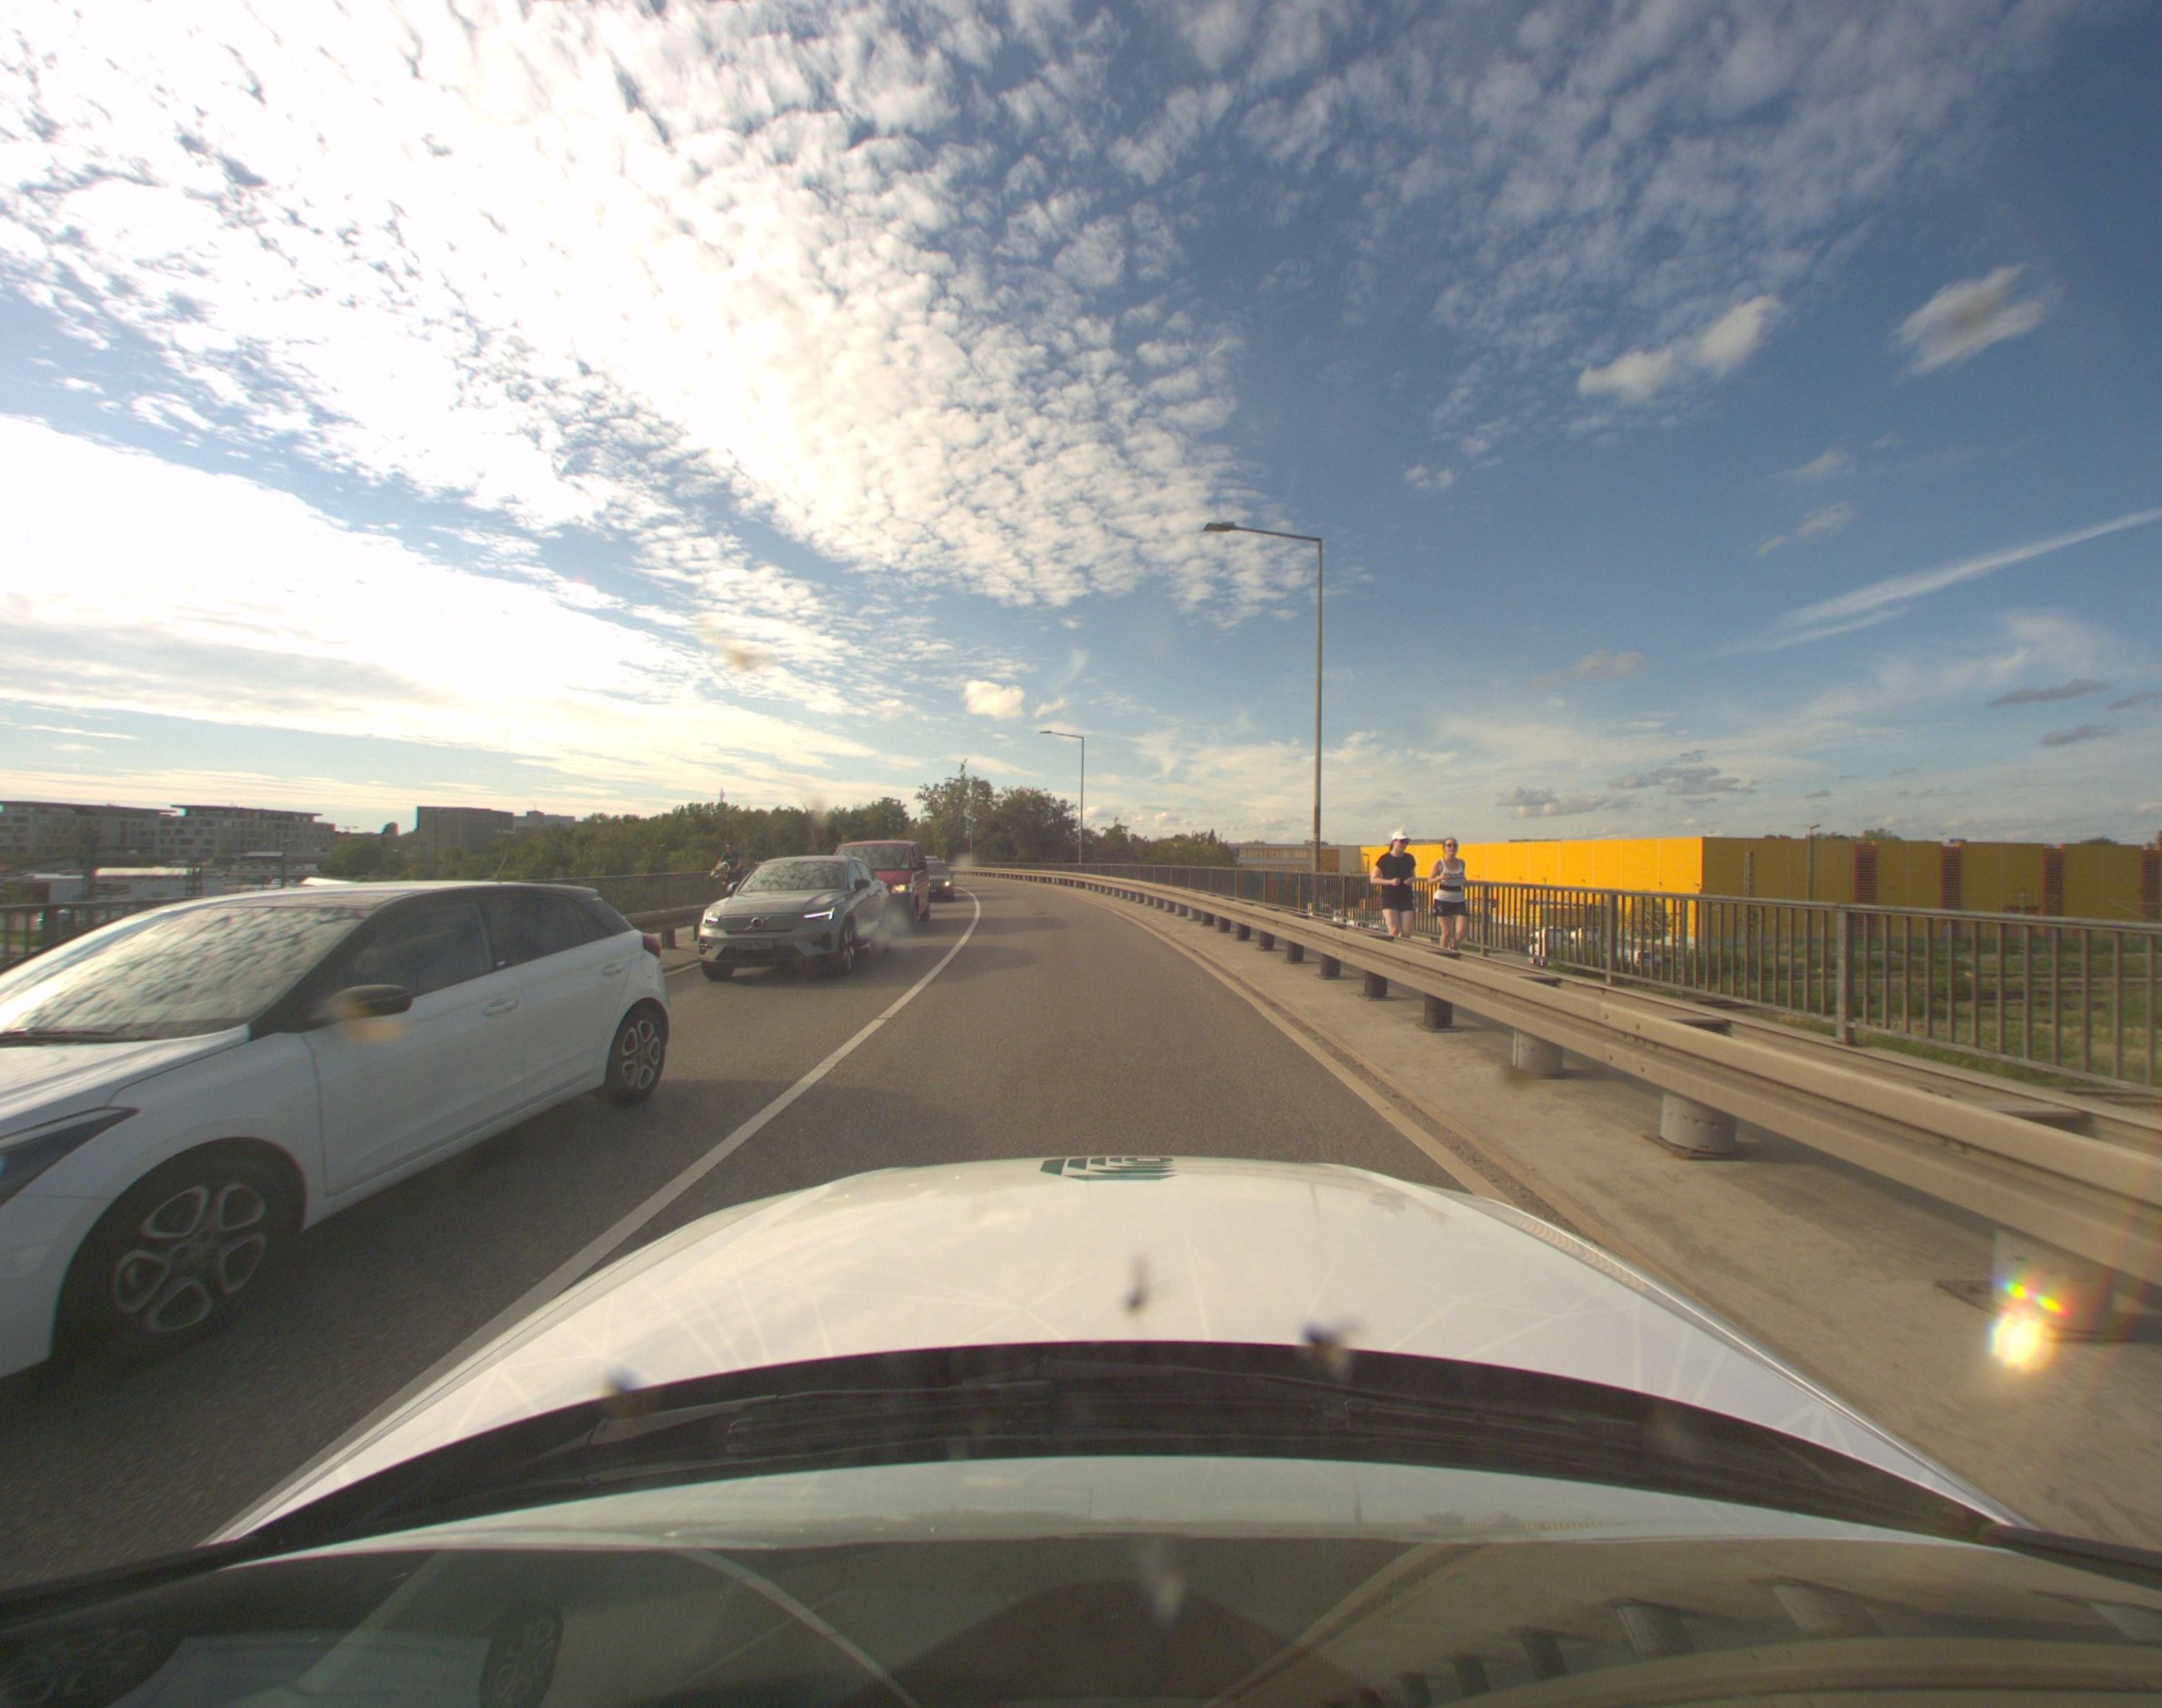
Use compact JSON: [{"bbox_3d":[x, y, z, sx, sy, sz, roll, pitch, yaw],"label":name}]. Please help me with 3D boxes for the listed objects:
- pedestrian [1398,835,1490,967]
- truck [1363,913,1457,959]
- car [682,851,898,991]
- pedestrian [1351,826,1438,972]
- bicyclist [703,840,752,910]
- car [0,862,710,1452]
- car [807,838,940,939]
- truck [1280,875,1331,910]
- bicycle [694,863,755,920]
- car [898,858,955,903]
[{"bbox_3d":[4.517,0.563,10.186,0.674,1.543,0.960,-1,-1,-1],"label":"pedestrian"},{"bbox_3d":[33.133,8.246,82.110,8.578,4.091,2.662,-1,1,-5],"label":"truck"},{"bbox_3d":[-3.963,0.799,11.905,1.748,1.609,4.309,-2,0,-3],"label":"car"},{"bbox_3d":[3.747,0.520,9.806,0.674,1.661,0.865,-1,-1,0],"label":"pedestrian"},{"bbox_3d":[-8.747,0.509,20.185,0.765,1.660,1.118,-1,-1,-5],"label":"bicyclist"},{"bbox_3d":[-3.653,0.835,3.909,1.734,1.501,4.079,-2,0,2],"label":"car"},{"bbox_3d":[-4.445,0.675,18.233,2.004,1.903,4.860,-2,0,-4],"label":"car"},{"bbox_3d":[34.162,5.813,124.584,3.625,4.855,11.251,-1,-1,-6],"label":"truck"},{"bbox_3d":[-8.737,0.889,20.031,0.763,1.331,1.913,-1,-1,-5],"label":"bicycle"},{"bbox_3d":[-5.588,0.905,29.660,1.833,1.465,4.502,-2,0,-10],"label":"car"}]
